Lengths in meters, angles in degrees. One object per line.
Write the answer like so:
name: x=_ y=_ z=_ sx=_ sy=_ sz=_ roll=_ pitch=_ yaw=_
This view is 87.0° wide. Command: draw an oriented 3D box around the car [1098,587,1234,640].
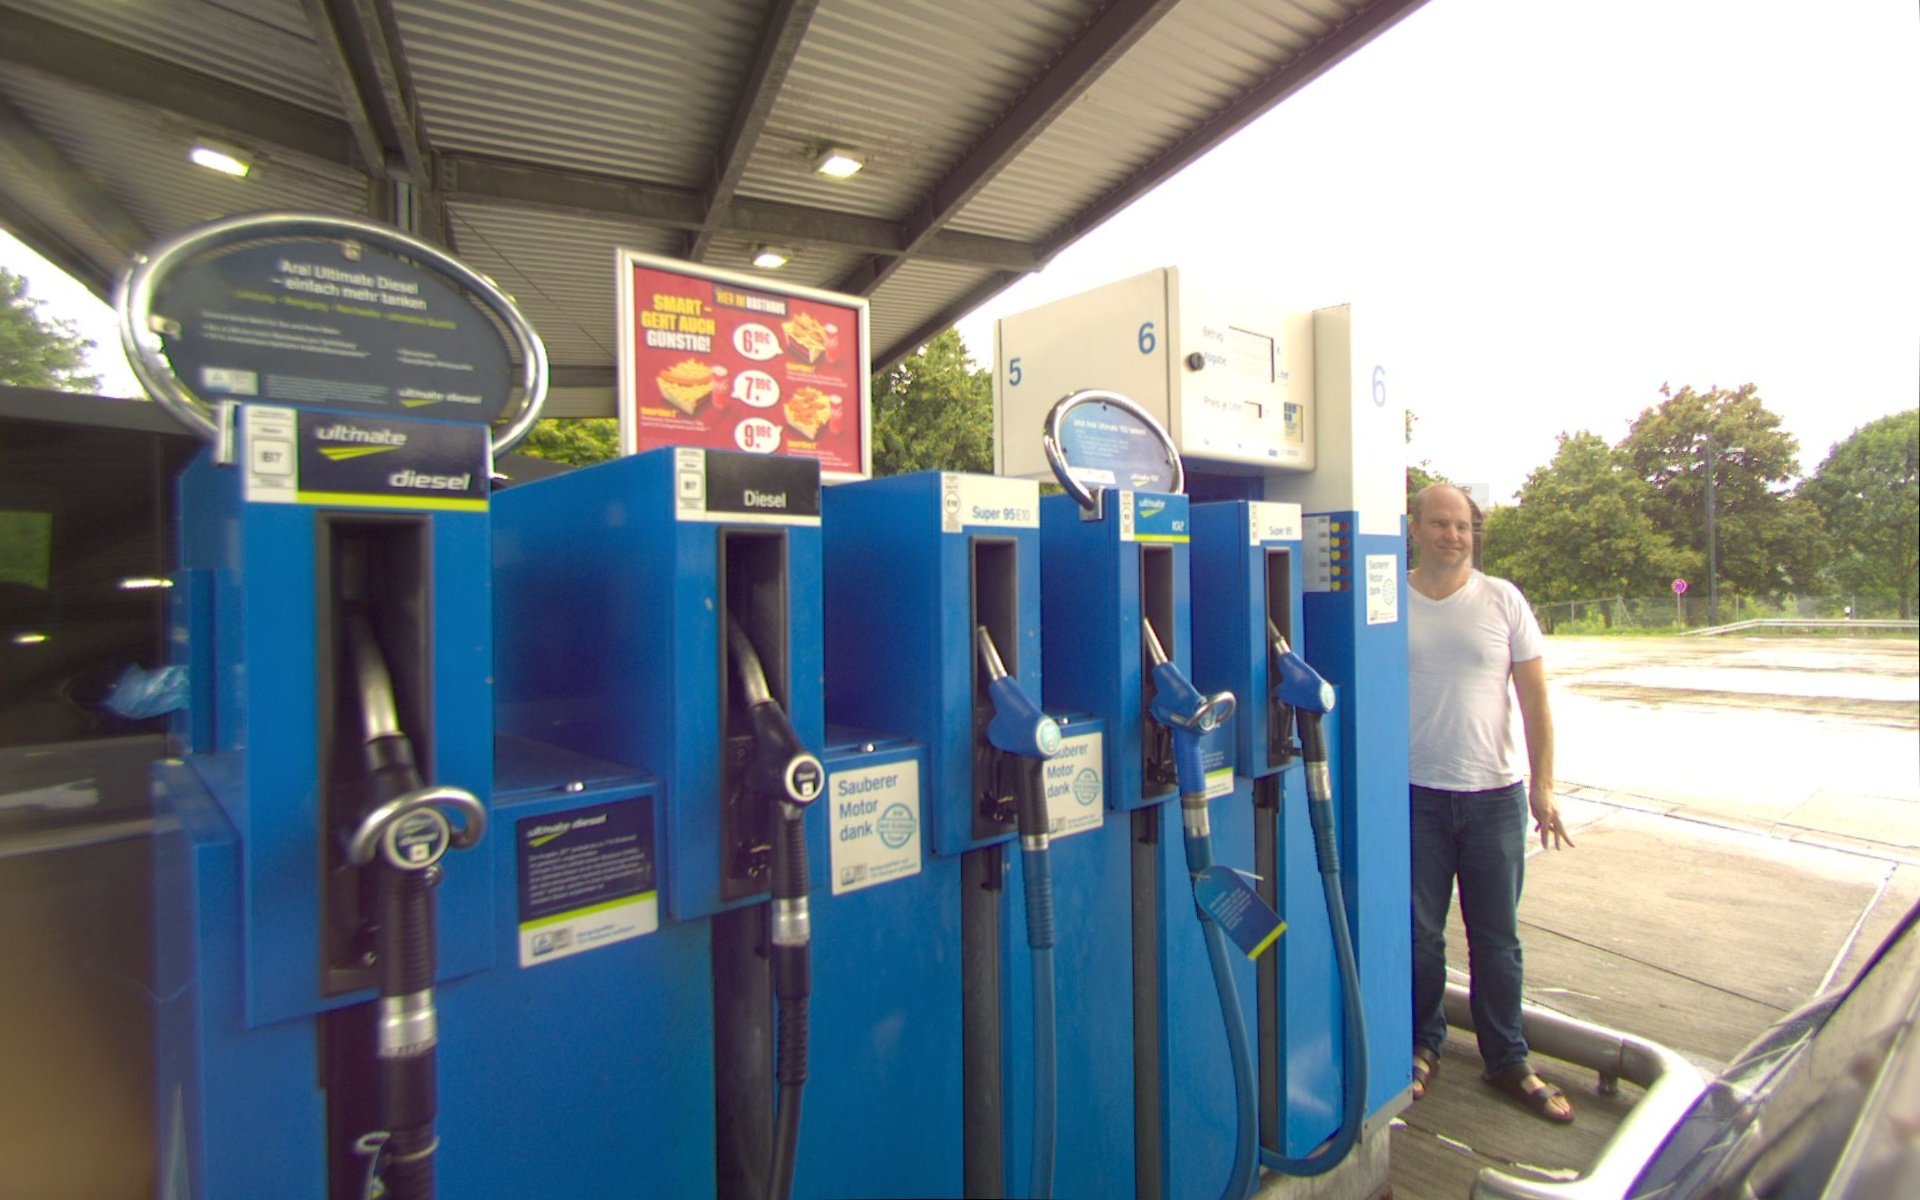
car: x=6.623 y=0.392 z=32.399 sx=4.123 sy=1.576 sz=1.990 roll=1 pitch=0 yaw=17

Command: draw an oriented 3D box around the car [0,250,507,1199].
car: x=-3.010 y=0.427 z=1.491 sx=3.930 sy=1.973 sz=1.819 roll=0 pitch=0 yaw=-41

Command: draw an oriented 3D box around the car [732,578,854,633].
car: x=-5.573 y=0.145 z=33.508 sx=1.967 sy=1.683 sz=4.170 roll=0 pitch=0 yaw=-44

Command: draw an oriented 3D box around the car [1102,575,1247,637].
car: x=7.333 y=0.189 z=34.696 sx=4.700 sy=2.011 sz=2.007 roll=0 pitch=0 yaw=14

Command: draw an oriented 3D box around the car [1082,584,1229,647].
car: x=5.810 y=0.416 z=29.997 sx=4.123 sy=1.752 sz=1.990 roll=0 pitch=0 yaw=17

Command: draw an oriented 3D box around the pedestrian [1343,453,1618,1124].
pedestrian: x=1.541 y=0.514 z=3.079 sx=0.625 sy=1.832 sz=0.492 roll=-1 pitch=1 yaw=15
